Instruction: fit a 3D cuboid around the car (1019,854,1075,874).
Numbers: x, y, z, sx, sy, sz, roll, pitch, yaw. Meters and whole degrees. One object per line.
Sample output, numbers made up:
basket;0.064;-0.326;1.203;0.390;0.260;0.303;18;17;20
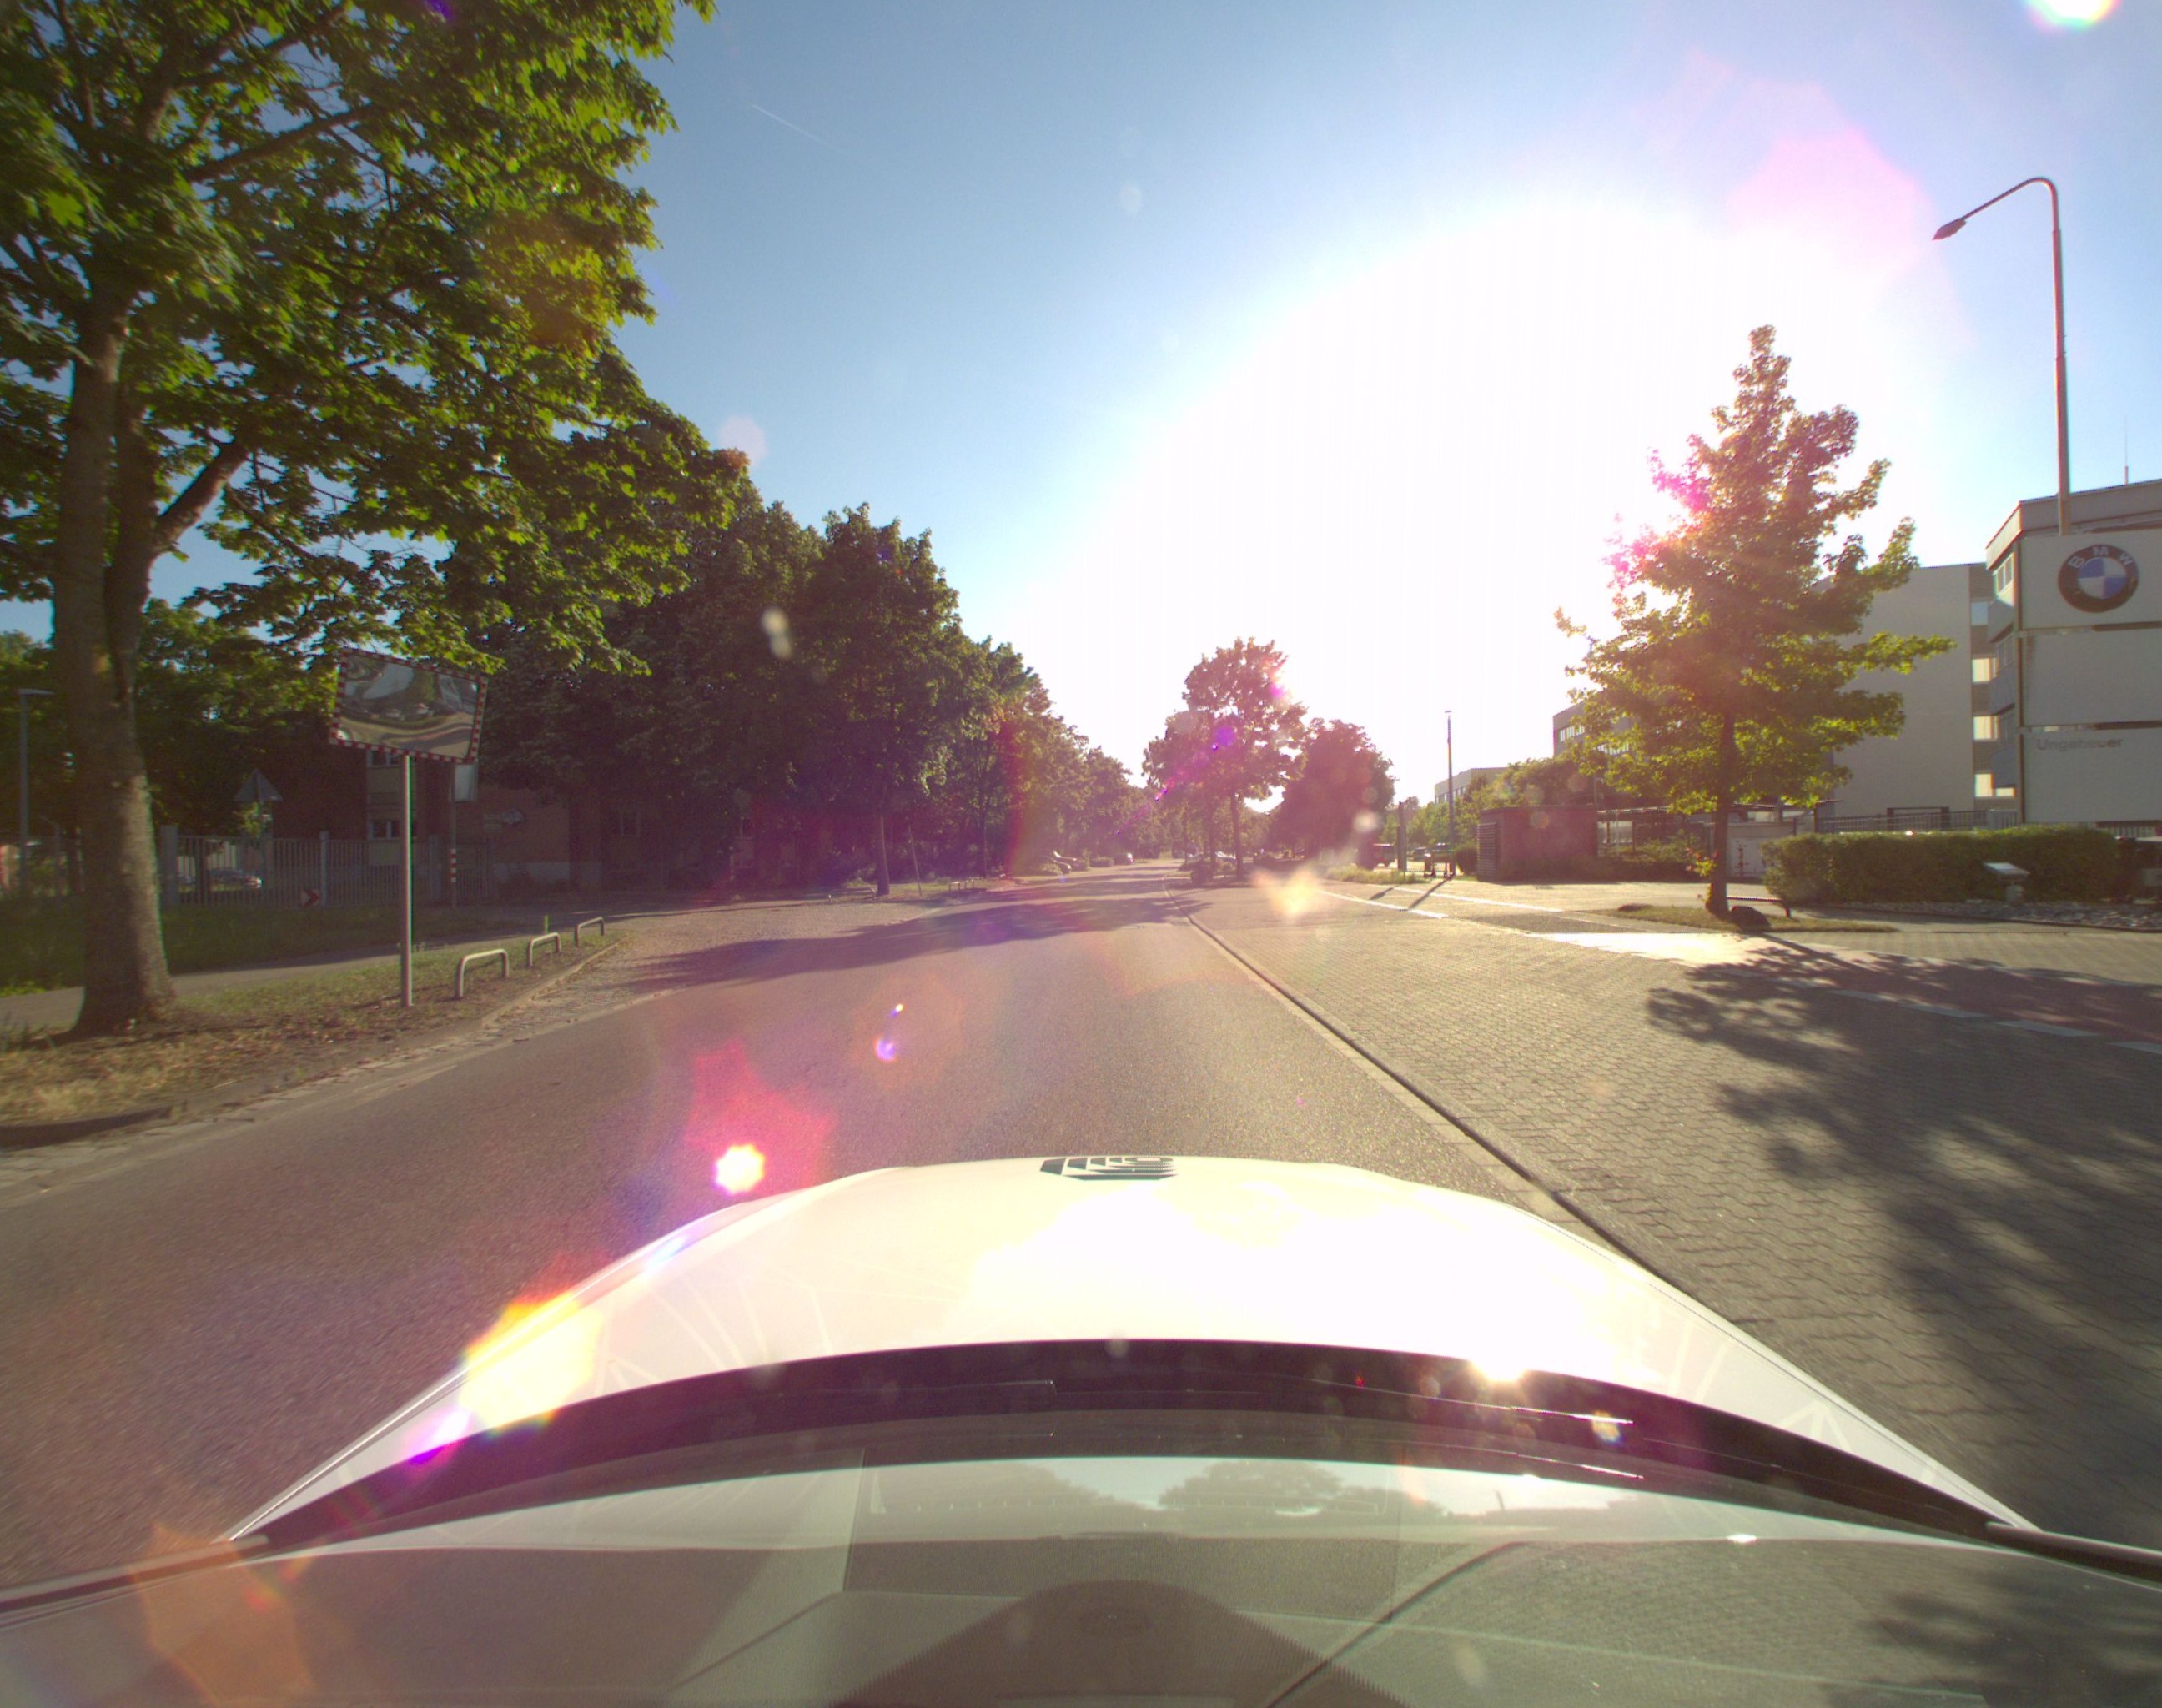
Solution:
car;-2.646;0.773;64.299;4.189;1.530;1.709;-1;0;6

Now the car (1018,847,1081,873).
car;-2.595;0.524;68.072;4.978;2.020;2.179;-1;0;6

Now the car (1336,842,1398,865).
car;24.670;-0.086;70.399;2.007;1.933;4.904;-1;1;-32

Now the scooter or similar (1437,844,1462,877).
scooter or similar;14.641;0.253;32.400;0.517;1.272;1.202;-1;0;5

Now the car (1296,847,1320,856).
car;43.309;-0.528;155.315;4.399;1.705;2.066;1;0;12

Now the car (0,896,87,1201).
car;-7.768;0.934;3.254;5.019;1.462;1.999;1;0;-1

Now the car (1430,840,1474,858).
car;36.960;-0.504;81.070;4.510;1.750;1.750;-1;0;-31

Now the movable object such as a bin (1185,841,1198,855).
movable object such as a bin;25.646;-1.335;188.912;2.821;3.068;4.940;-1;0;10

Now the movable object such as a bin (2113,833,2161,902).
movable object such as a bin;20.436;0.231;15.154;1.111;1.268;1.040;-1;0;6

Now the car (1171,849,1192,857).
car;21.816;-0.211;176.491;4.327;1.547;2.008;1;0;14

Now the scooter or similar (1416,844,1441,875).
scooter or similar;14.546;0.229;34.120;0.517;1.272;1.389;-1;0;5

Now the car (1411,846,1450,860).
car;39.457;-0.123;91.811;4.315;1.527;1.751;-1;0;-29

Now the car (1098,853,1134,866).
car;4.469;0.687;104.911;4.331;1.479;2.006;1;0;10

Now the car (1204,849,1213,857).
car;37.186;-0.370;237.074;2.503;2.386;4.382;-1;0;7

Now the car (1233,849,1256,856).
car;36.713;-0.422;182.675;4.806;1.479;2.008;1;0;14

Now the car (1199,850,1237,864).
car;17.262;0.374;102.345;4.321;1.479;2.010;-3;-1;20

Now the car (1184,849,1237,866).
car;13.079;0.360;82.351;5.146;1.574;2.163;-1;0;8
